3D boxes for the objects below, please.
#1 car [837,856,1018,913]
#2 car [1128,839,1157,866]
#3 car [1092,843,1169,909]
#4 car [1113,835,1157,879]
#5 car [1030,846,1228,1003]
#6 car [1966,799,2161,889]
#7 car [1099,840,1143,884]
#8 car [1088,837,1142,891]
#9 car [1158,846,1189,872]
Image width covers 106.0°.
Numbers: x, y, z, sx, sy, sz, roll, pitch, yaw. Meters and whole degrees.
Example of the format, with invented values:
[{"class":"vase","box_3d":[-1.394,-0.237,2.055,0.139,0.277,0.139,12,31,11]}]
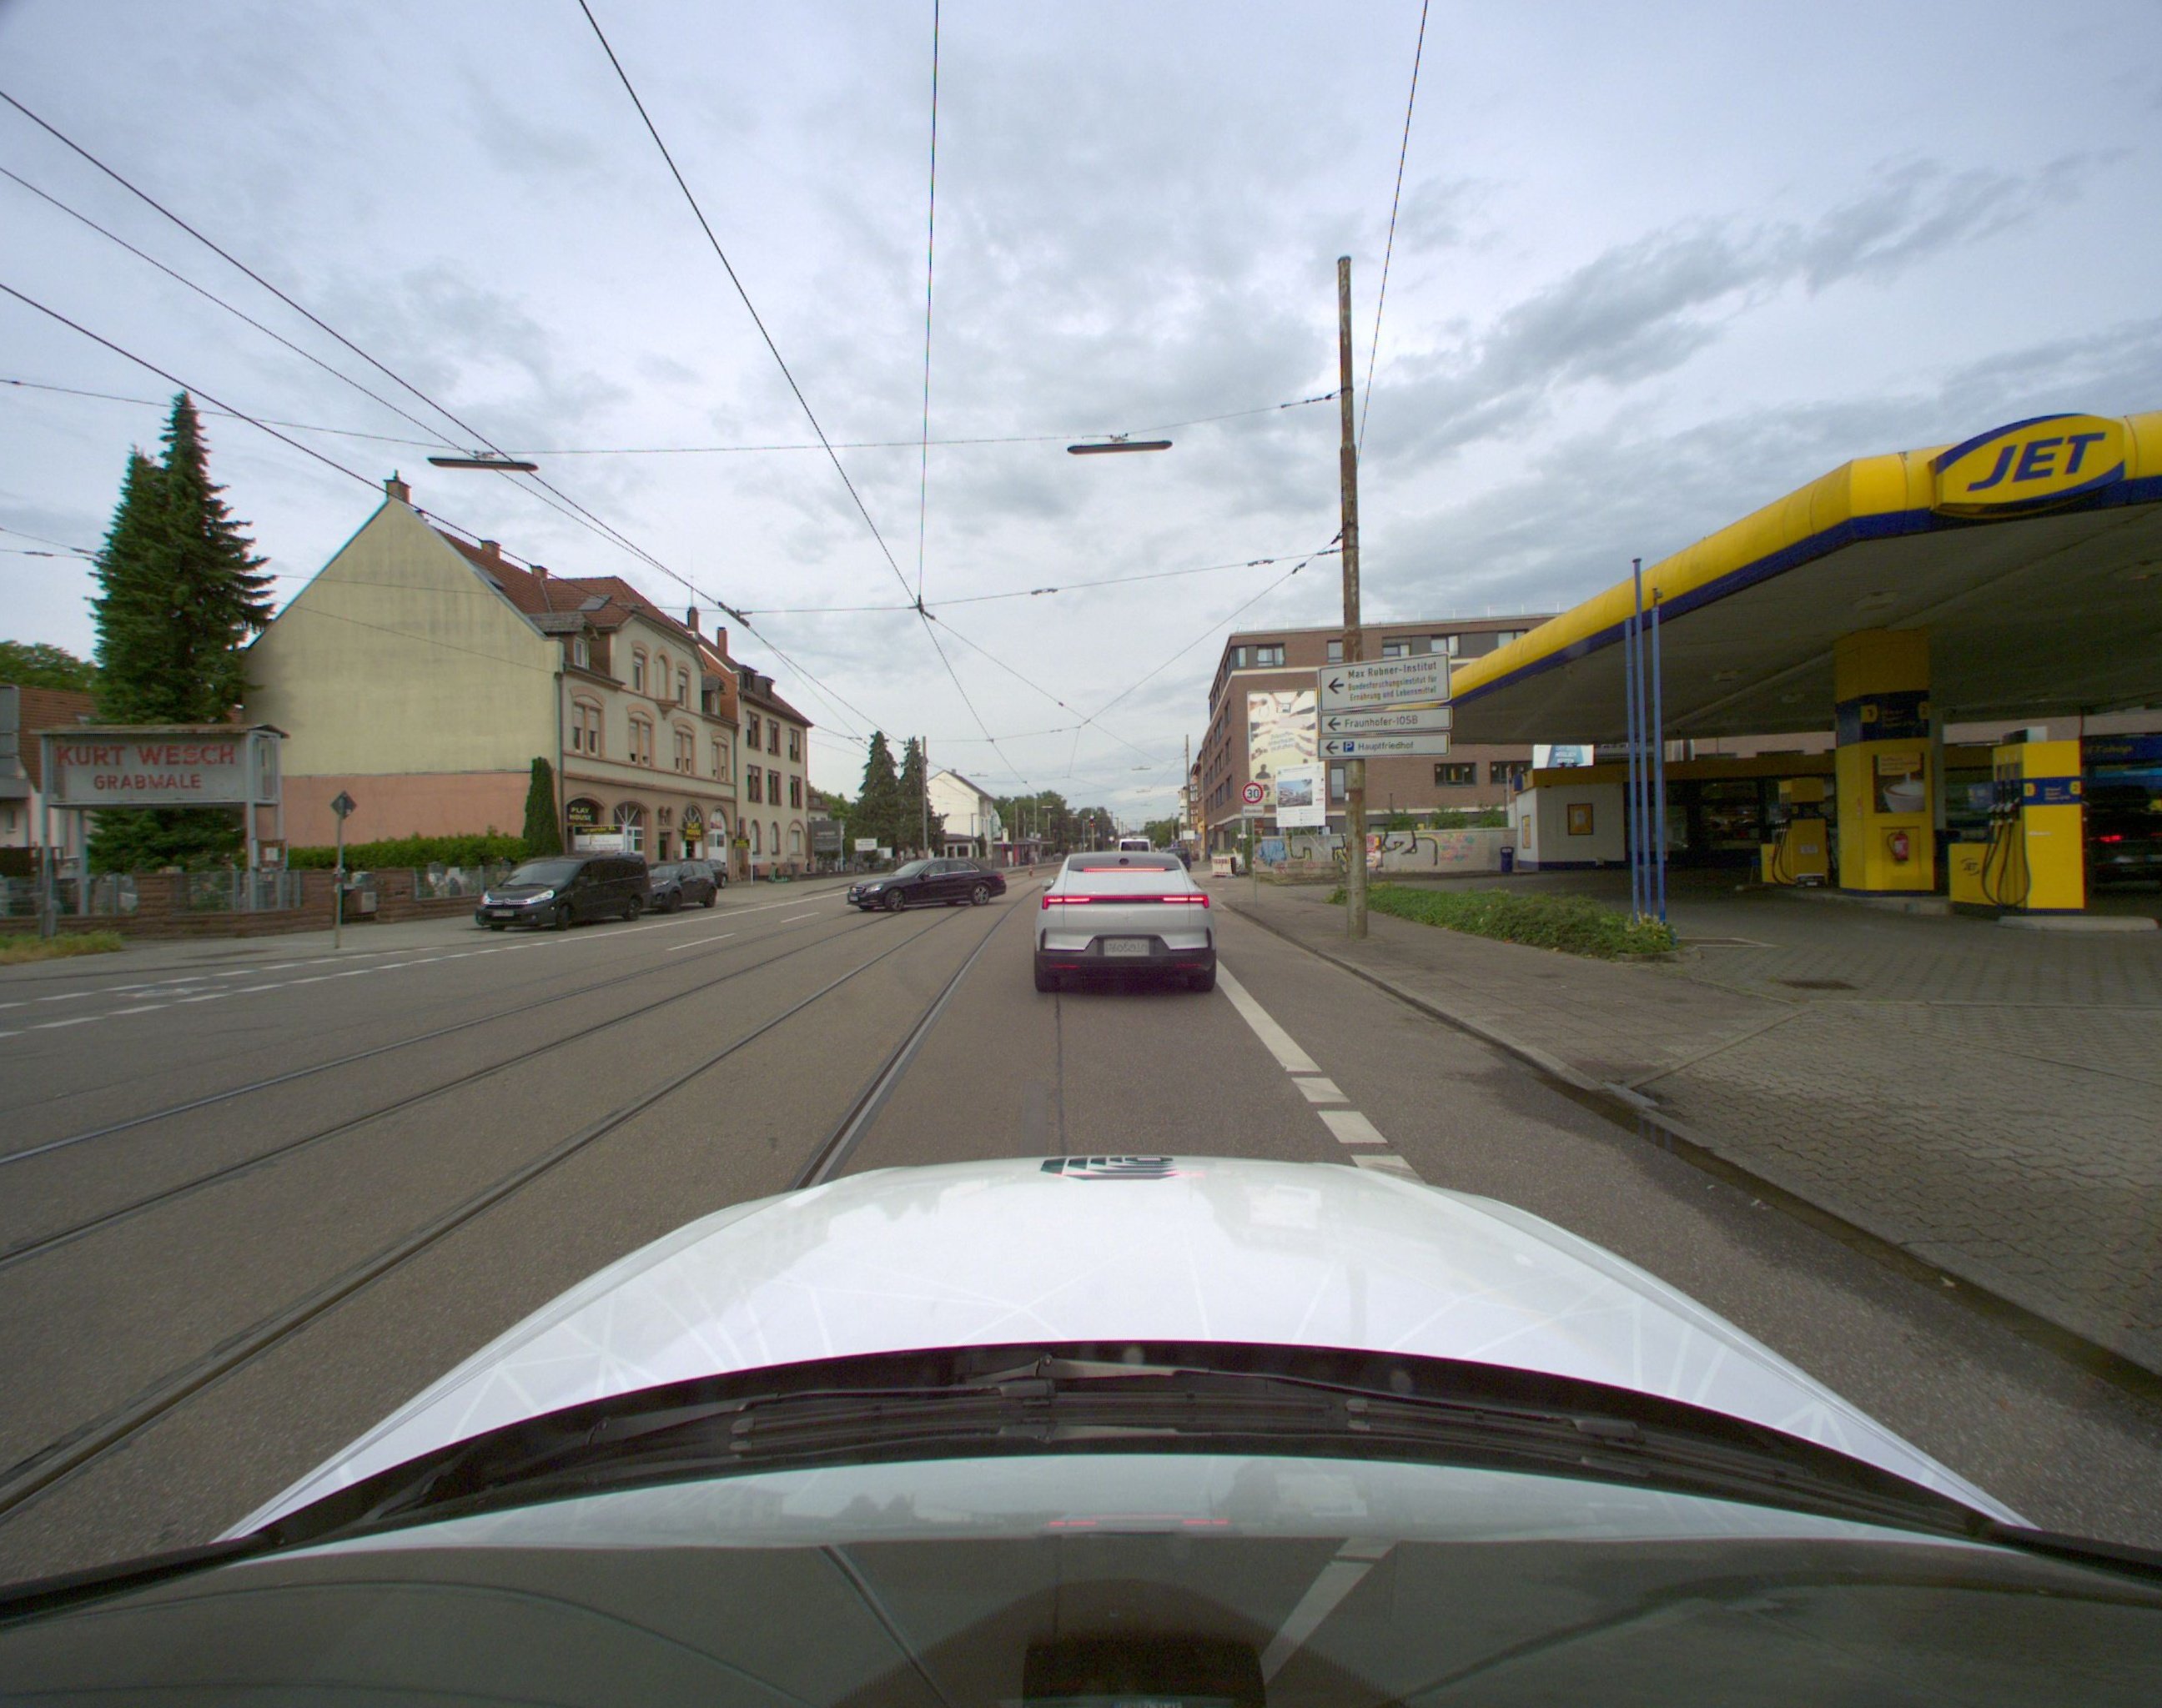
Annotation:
[{"class":"car","box_3d":[-4.488,0.838,24.208,4.908,1.427,1.931,-2,0,-36]},{"class":"car","box_3d":[5.153,-0.083,68.502,2.132,2.145,4.744,0,-1,1]},{"class":"car","box_3d":[1.338,0.600,23.509,1.963,1.756,3.836,0,-1,-1]},{"class":"car","box_3d":[3.089,0.180,47.480,2.209,2.423,4.950,0,-1,0]},{"class":"car","box_3d":[0.407,0.691,10.172,1.977,1.550,4.180,0,0,-2]},{"class":"car","box_3d":[19.591,-0.241,15.778,1.971,1.497,4.353,-3,1,29]},{"class":"car","box_3d":[1.876,0.390,39.204,1.986,2.014,4.001,0,-1,1]},{"class":"car","box_3d":[1.311,0.393,32.784,1.987,2.014,3.999,0,-1,0]},{"class":"car","box_3d":[6.773,0.364,59.904,1.868,1.823,4.096,0,-1,1]}]
